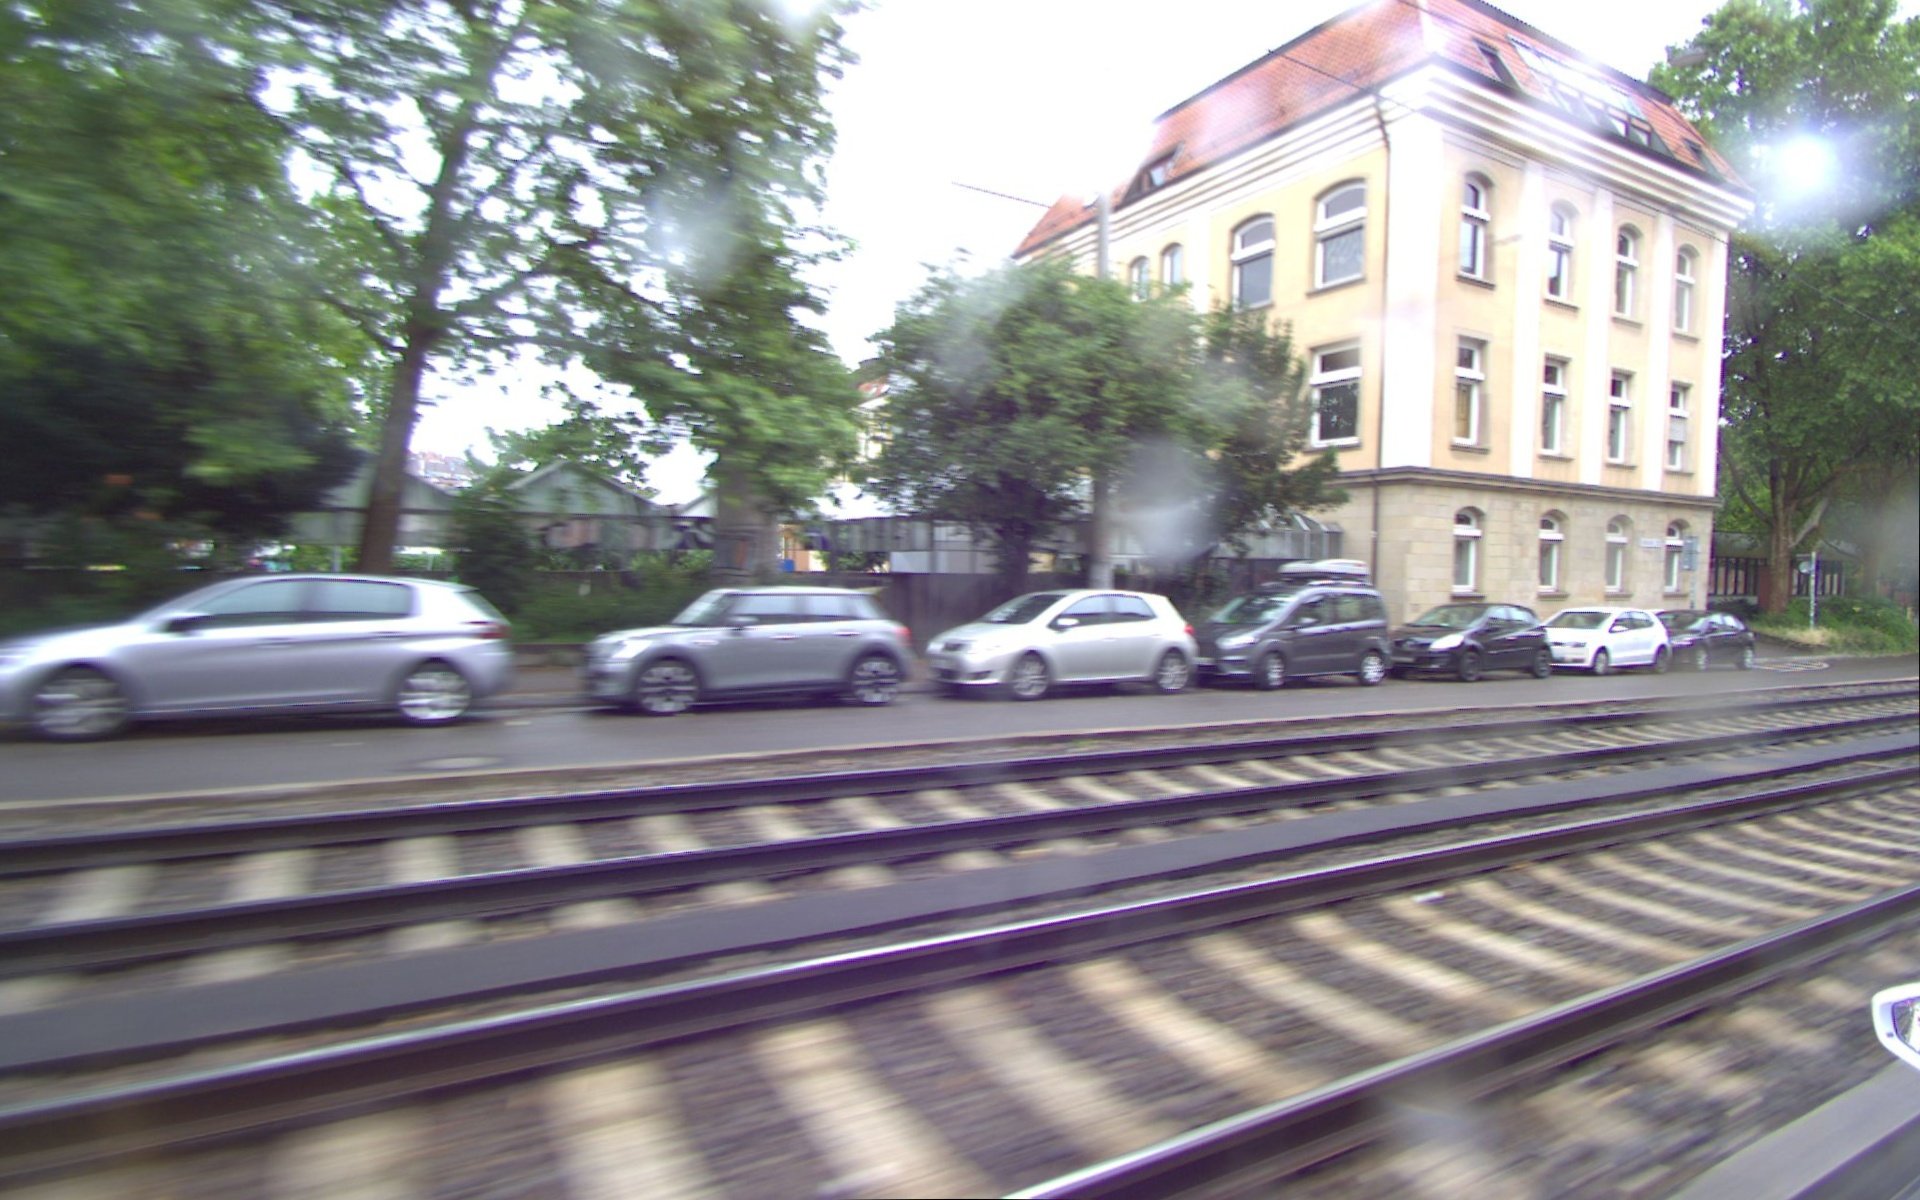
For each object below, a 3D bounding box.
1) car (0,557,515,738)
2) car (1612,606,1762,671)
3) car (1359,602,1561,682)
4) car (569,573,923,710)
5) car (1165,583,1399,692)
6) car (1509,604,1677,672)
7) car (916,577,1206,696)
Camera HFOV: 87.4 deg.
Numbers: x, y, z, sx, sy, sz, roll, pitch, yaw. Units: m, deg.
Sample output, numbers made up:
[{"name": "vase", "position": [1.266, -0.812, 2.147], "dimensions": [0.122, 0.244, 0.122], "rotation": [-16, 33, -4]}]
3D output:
[{"name": "car", "position": [-6.607, 0.421, 9.608], "dimensions": [4.107, 1.432, 1.745], "rotation": [1, -1, -32]}, {"name": "car", "position": [17.701, 0.889, 24.430], "dimensions": [3.808, 1.448, 1.606], "rotation": [1, 0, -31]}, {"name": "car", "position": [9.852, 0.799, 19.737], "dimensions": [3.962, 1.432, 1.667], "rotation": [1, -1, -30]}, {"name": "car", "position": [-2.522, 0.483, 12.154], "dimensions": [3.908, 1.432, 1.531], "rotation": [1, -1, -32]}, {"name": "car", "position": [5.502, 0.621, 17.013], "dimensions": [4.026, 1.665, 1.568], "rotation": [1, -1, -32]}, {"name": "car", "position": [14.037, 0.830, 22.223], "dimensions": [3.939, 1.409, 1.493], "rotation": [1, -1, -30]}, {"name": "car", "position": [1.527, 0.519, 14.563], "dimensions": [4.108, 1.525, 1.531], "rotation": [1, -1, -32]}]
